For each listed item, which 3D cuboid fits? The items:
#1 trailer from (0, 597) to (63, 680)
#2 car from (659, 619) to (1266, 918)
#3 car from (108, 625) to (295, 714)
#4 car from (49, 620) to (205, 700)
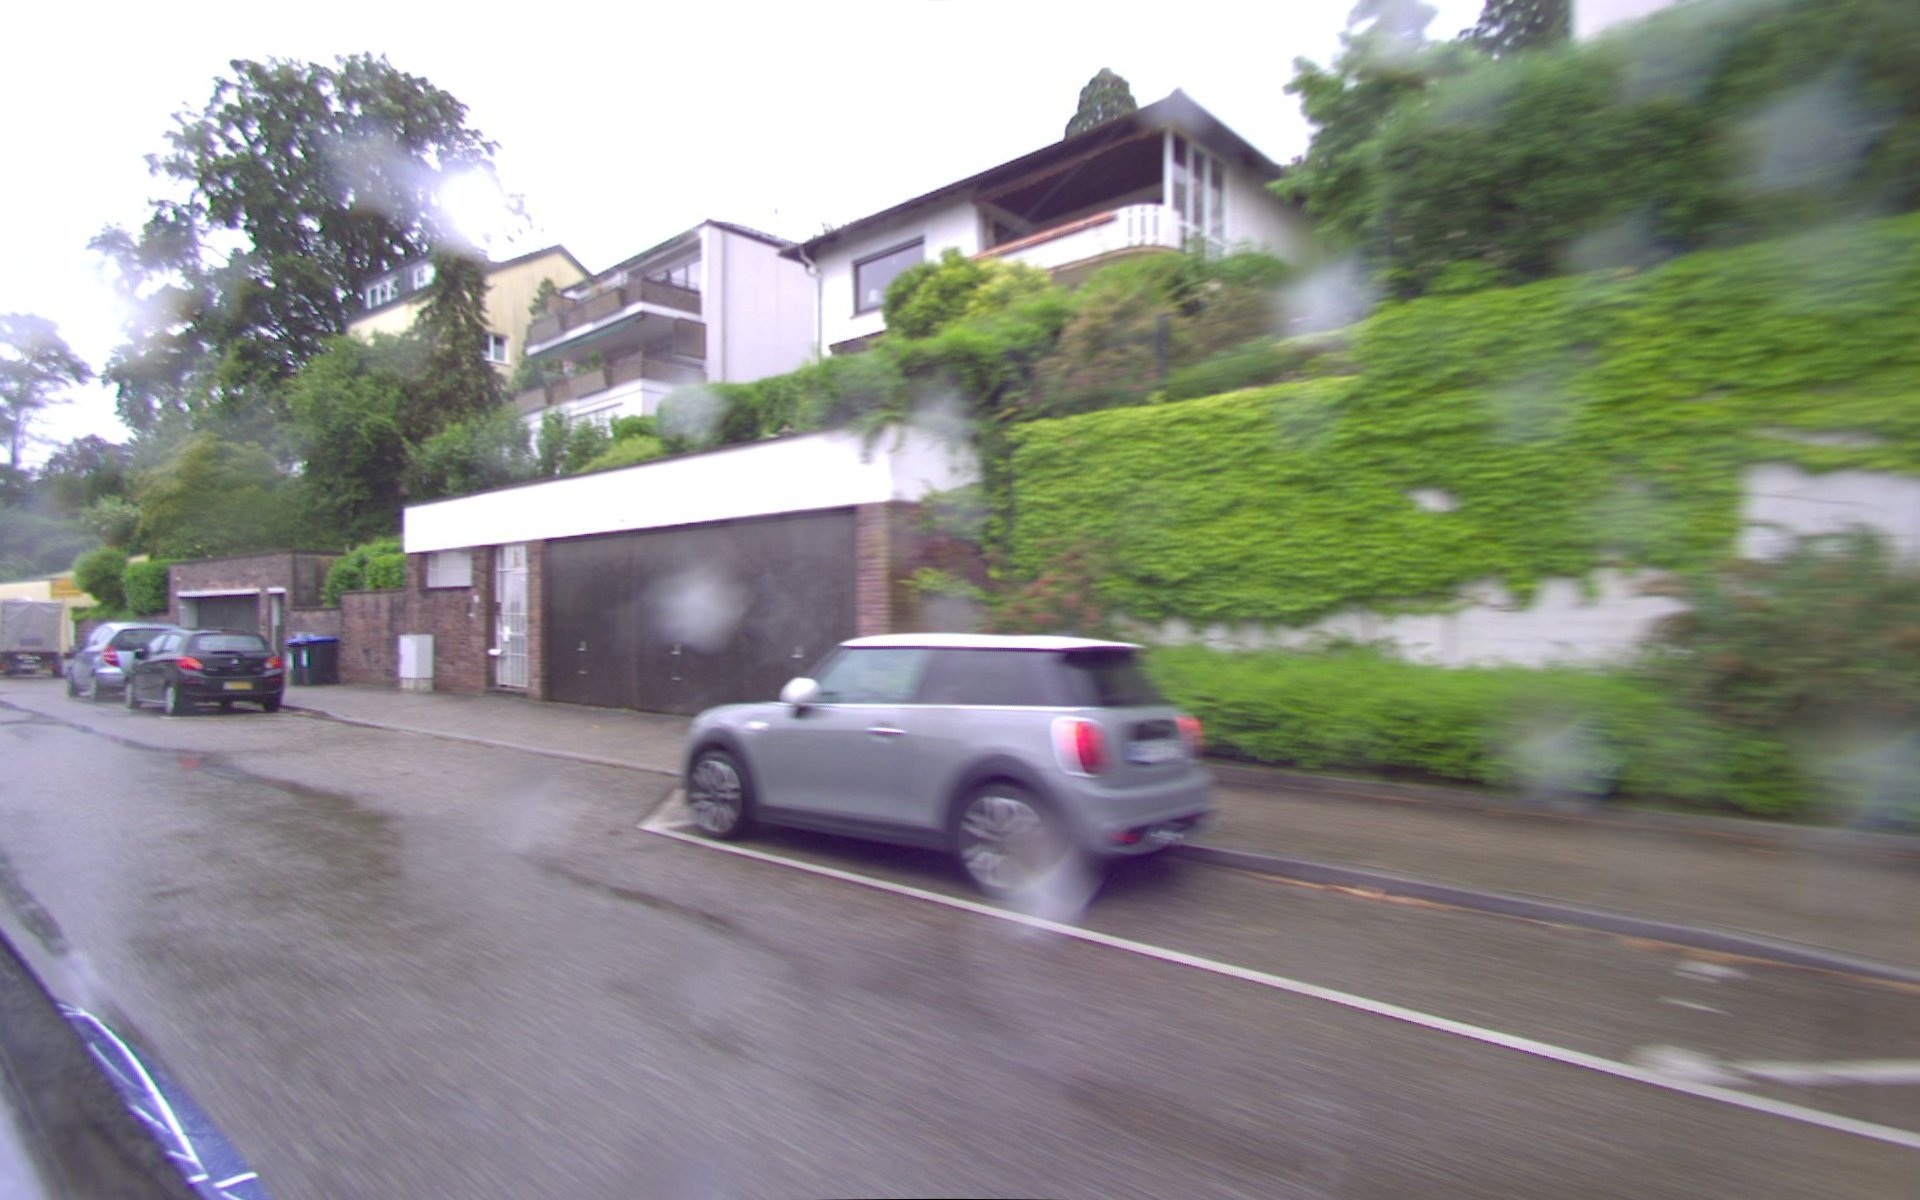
[{"bbox_3d":[-28.946,1.200,31.140,3.071,2.418,1.520,-2,-5,41],"label":"trailer"},{"bbox_3d":[-0.127,0.905,6.706,3.766,1.413,1.738,-2,-5,39],"label":"car"},{"bbox_3d":[-13.504,1.232,17.963,3.700,1.420,1.738,-2,-6,39],"label":"car"},{"bbox_3d":[-17.682,1.281,21.446,3.752,1.551,1.738,-2,-6,39],"label":"car"}]
